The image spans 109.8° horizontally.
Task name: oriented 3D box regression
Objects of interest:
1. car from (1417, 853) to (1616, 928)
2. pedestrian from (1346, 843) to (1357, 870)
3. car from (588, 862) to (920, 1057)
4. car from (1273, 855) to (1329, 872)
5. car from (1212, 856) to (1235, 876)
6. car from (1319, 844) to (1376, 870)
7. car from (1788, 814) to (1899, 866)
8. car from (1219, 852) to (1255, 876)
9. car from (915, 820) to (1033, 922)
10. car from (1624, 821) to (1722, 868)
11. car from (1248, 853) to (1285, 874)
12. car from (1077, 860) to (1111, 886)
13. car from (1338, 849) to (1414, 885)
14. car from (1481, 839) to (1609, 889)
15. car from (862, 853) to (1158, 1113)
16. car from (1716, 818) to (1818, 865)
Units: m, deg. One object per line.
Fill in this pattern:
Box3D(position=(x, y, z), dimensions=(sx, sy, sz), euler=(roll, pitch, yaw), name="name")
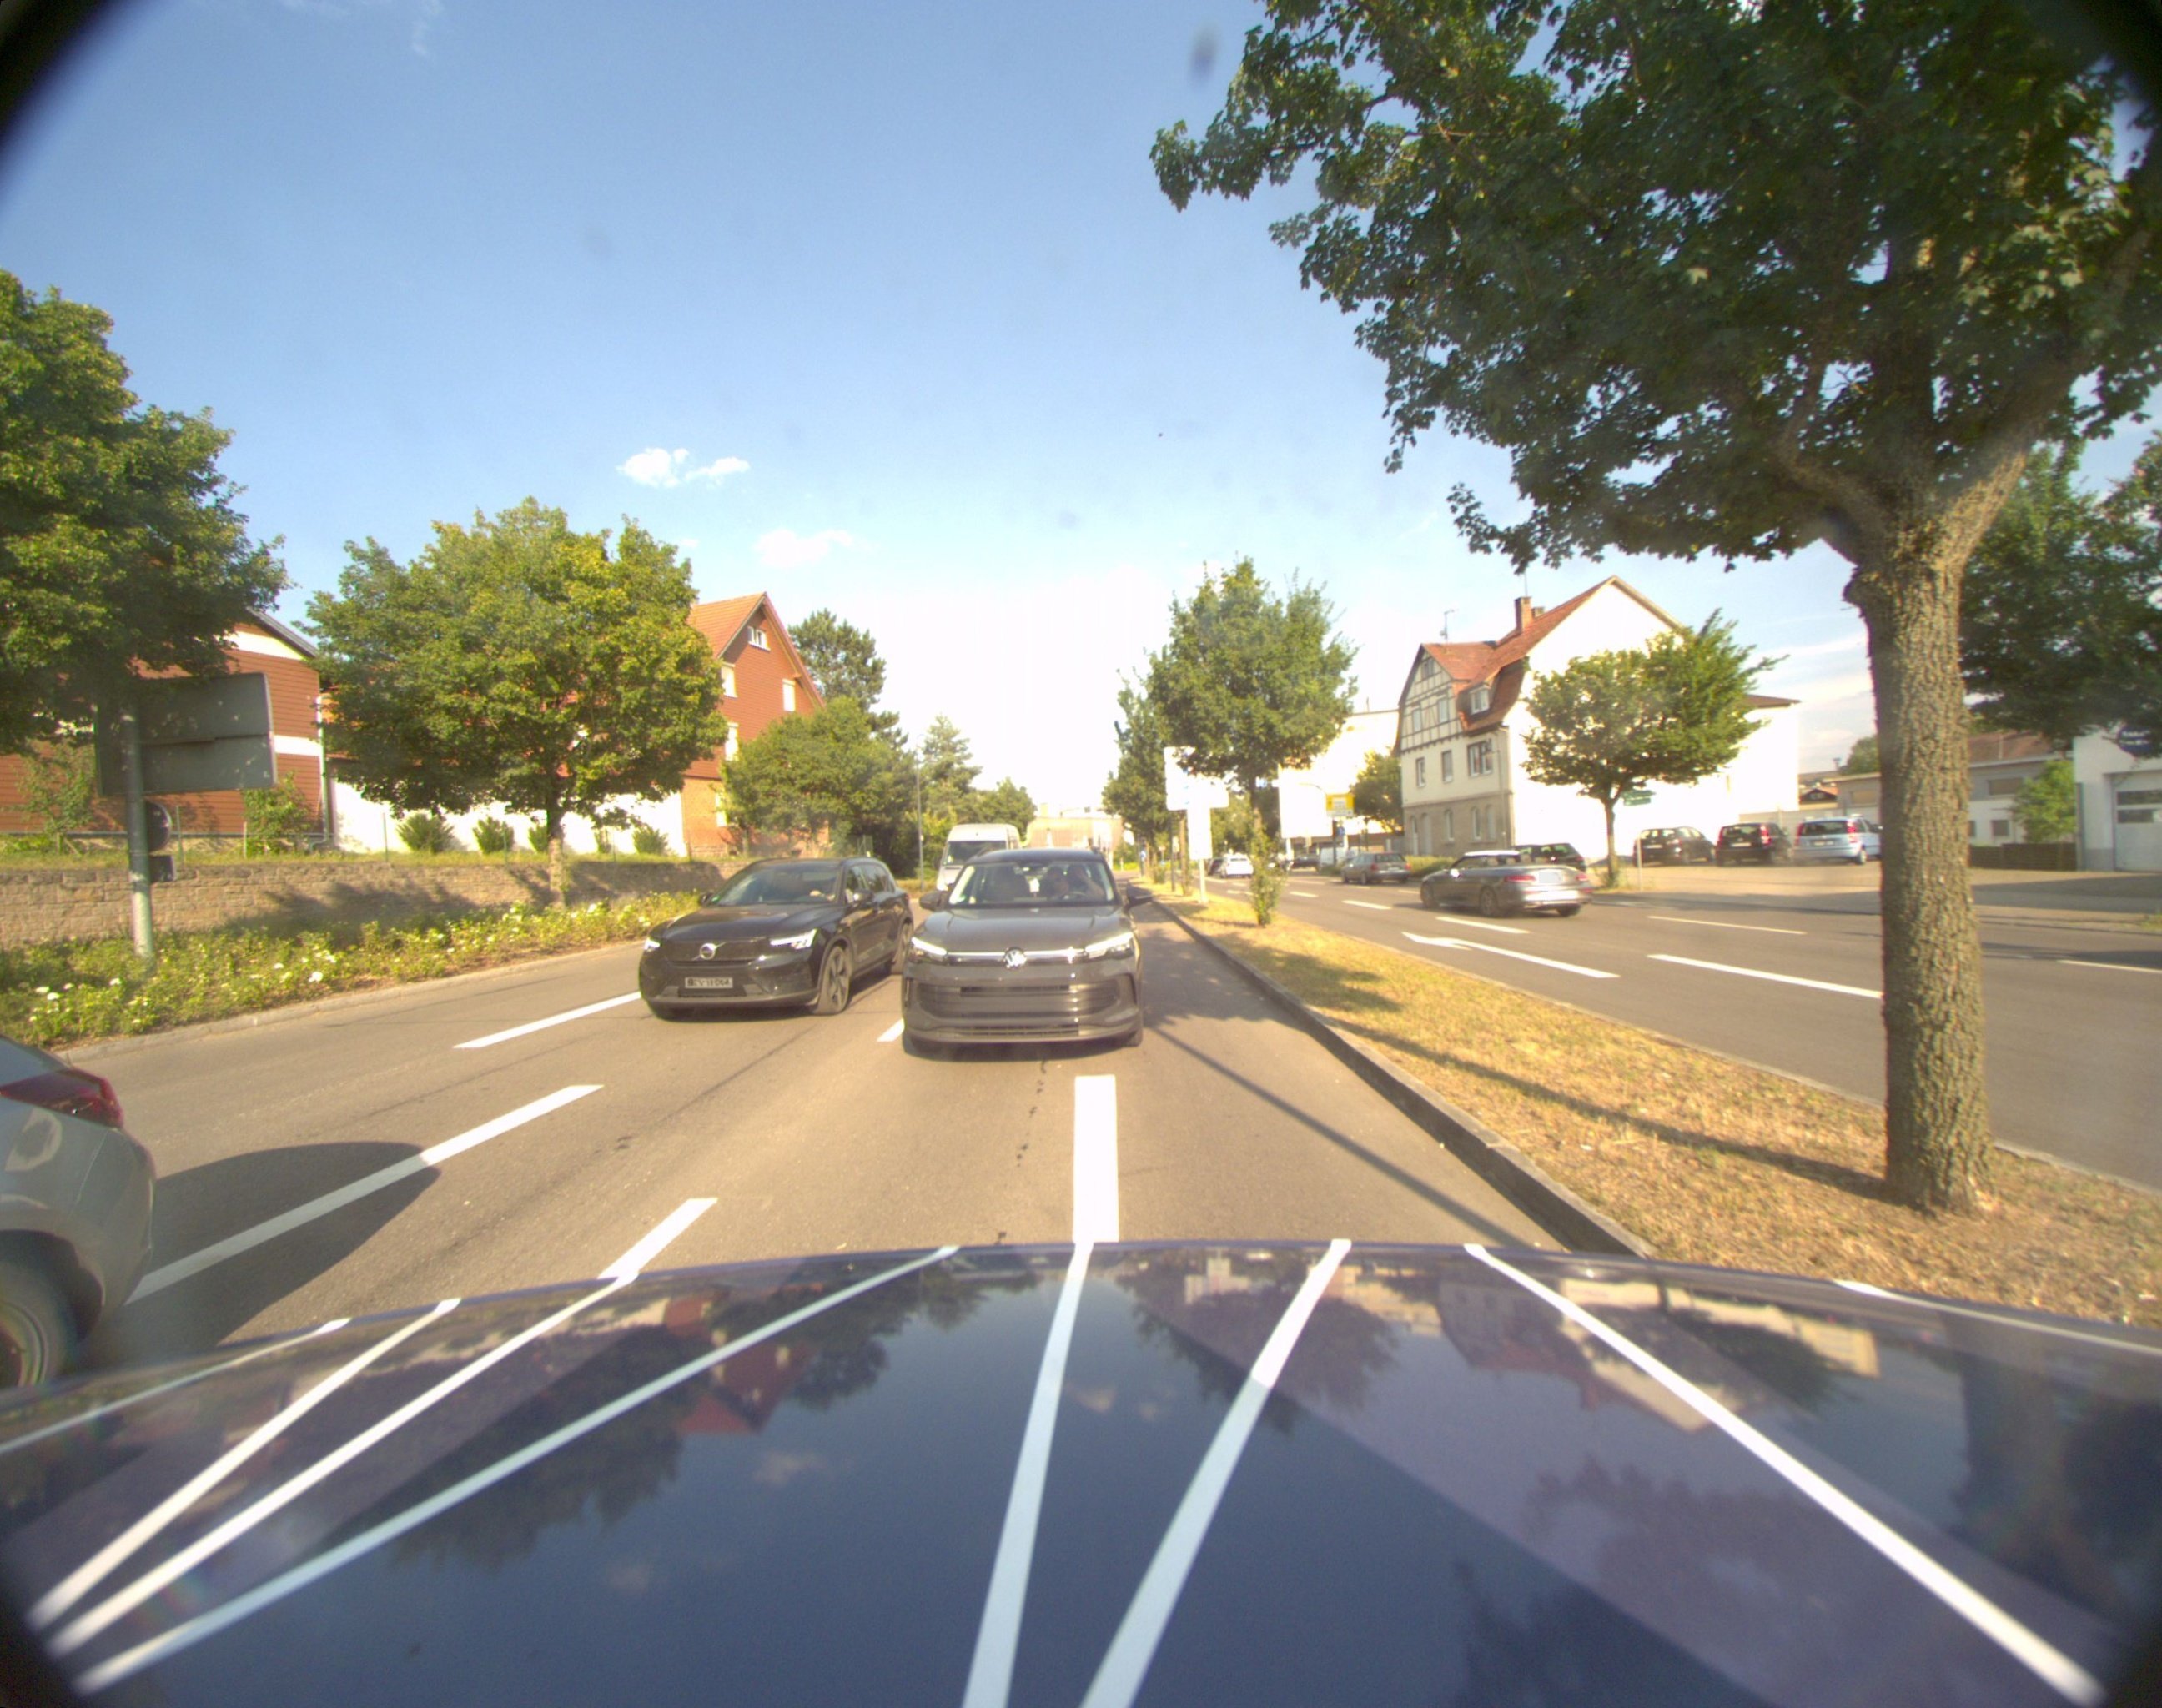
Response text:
Box3D(position=(9.205, 0.690, 16.575), dimensions=(1.784, 1.341, 4.478), euler=(-2, 0, 1), name="car")
Box3D(position=(20.494, 0.188, 57.486), dimensions=(0.698, 1.971, 0.589), euler=(-2, 1, 22), name="pedestrian")
Box3D(position=(-3.323, 0.952, 8.761), dimensions=(1.886, 1.599, 4.128), euler=(-2, 0, 2), name="car")
Box3D(position=(20.021, 0.879, 69.213), dimensions=(4.660, 1.346, 1.768), euler=(-2, 0, 9), name="car")
Box3D(position=(11.405, 0.944, 60.891), dimensions=(1.772, 1.442, 4.111), euler=(-2, 0, 10), name="car")
Box3D(position=(22.034, 0.233, 62.708), dimensions=(4.953, 1.912, 1.824), euler=(-2, 1, -35), name="car")
Box3D(position=(24.966, -0.464, 24.859), dimensions=(4.006, 1.543, 1.763), euler=(-2, 1, -33), name="car")
Box3D(position=(10.329, 0.623, 50.605), dimensions=(1.805, 1.488, 3.956), euler=(-2, 0, 4), name="car")
Box3D(position=(-2.925, 0.429, 22.534), dimensions=(2.370, 2.532, 6.192), euler=(-2, 0, 2), name="car")
Box3D(position=(23.296, -0.380, 29.866), dimensions=(4.006, 1.543, 1.764), euler=(-4, 1, -33), name="car")
Box3D(position=(13.778, 0.676, 56.636), dimensions=(1.811, 1.488, 4.245), euler=(-2, 0, 1), name="car")
Box3D(position=(0.828, 1.093, 45.745), dimensions=(1.765, 1.346, 4.132), euler=(-2, 0, 4), name="car")
Box3D(position=(13.049, 0.526, 33.933), dimensions=(1.690, 1.454, 4.712), euler=(-2, 0, 2), name="car")
Box3D(position=(16.029, 0.304, 26.539), dimensions=(1.839, 1.435, 4.195), euler=(-5, 0, 1), name="car")
Box3D(position=(-0.410, 0.854, 7.378), dimensions=(1.894, 1.647, 4.730), euler=(-2, 0, 1), name="car")
Box3D(position=(24.850, -0.462, 27.505), dimensions=(4.006, 1.543, 1.763), euler=(-2, 1, -33), name="car")
